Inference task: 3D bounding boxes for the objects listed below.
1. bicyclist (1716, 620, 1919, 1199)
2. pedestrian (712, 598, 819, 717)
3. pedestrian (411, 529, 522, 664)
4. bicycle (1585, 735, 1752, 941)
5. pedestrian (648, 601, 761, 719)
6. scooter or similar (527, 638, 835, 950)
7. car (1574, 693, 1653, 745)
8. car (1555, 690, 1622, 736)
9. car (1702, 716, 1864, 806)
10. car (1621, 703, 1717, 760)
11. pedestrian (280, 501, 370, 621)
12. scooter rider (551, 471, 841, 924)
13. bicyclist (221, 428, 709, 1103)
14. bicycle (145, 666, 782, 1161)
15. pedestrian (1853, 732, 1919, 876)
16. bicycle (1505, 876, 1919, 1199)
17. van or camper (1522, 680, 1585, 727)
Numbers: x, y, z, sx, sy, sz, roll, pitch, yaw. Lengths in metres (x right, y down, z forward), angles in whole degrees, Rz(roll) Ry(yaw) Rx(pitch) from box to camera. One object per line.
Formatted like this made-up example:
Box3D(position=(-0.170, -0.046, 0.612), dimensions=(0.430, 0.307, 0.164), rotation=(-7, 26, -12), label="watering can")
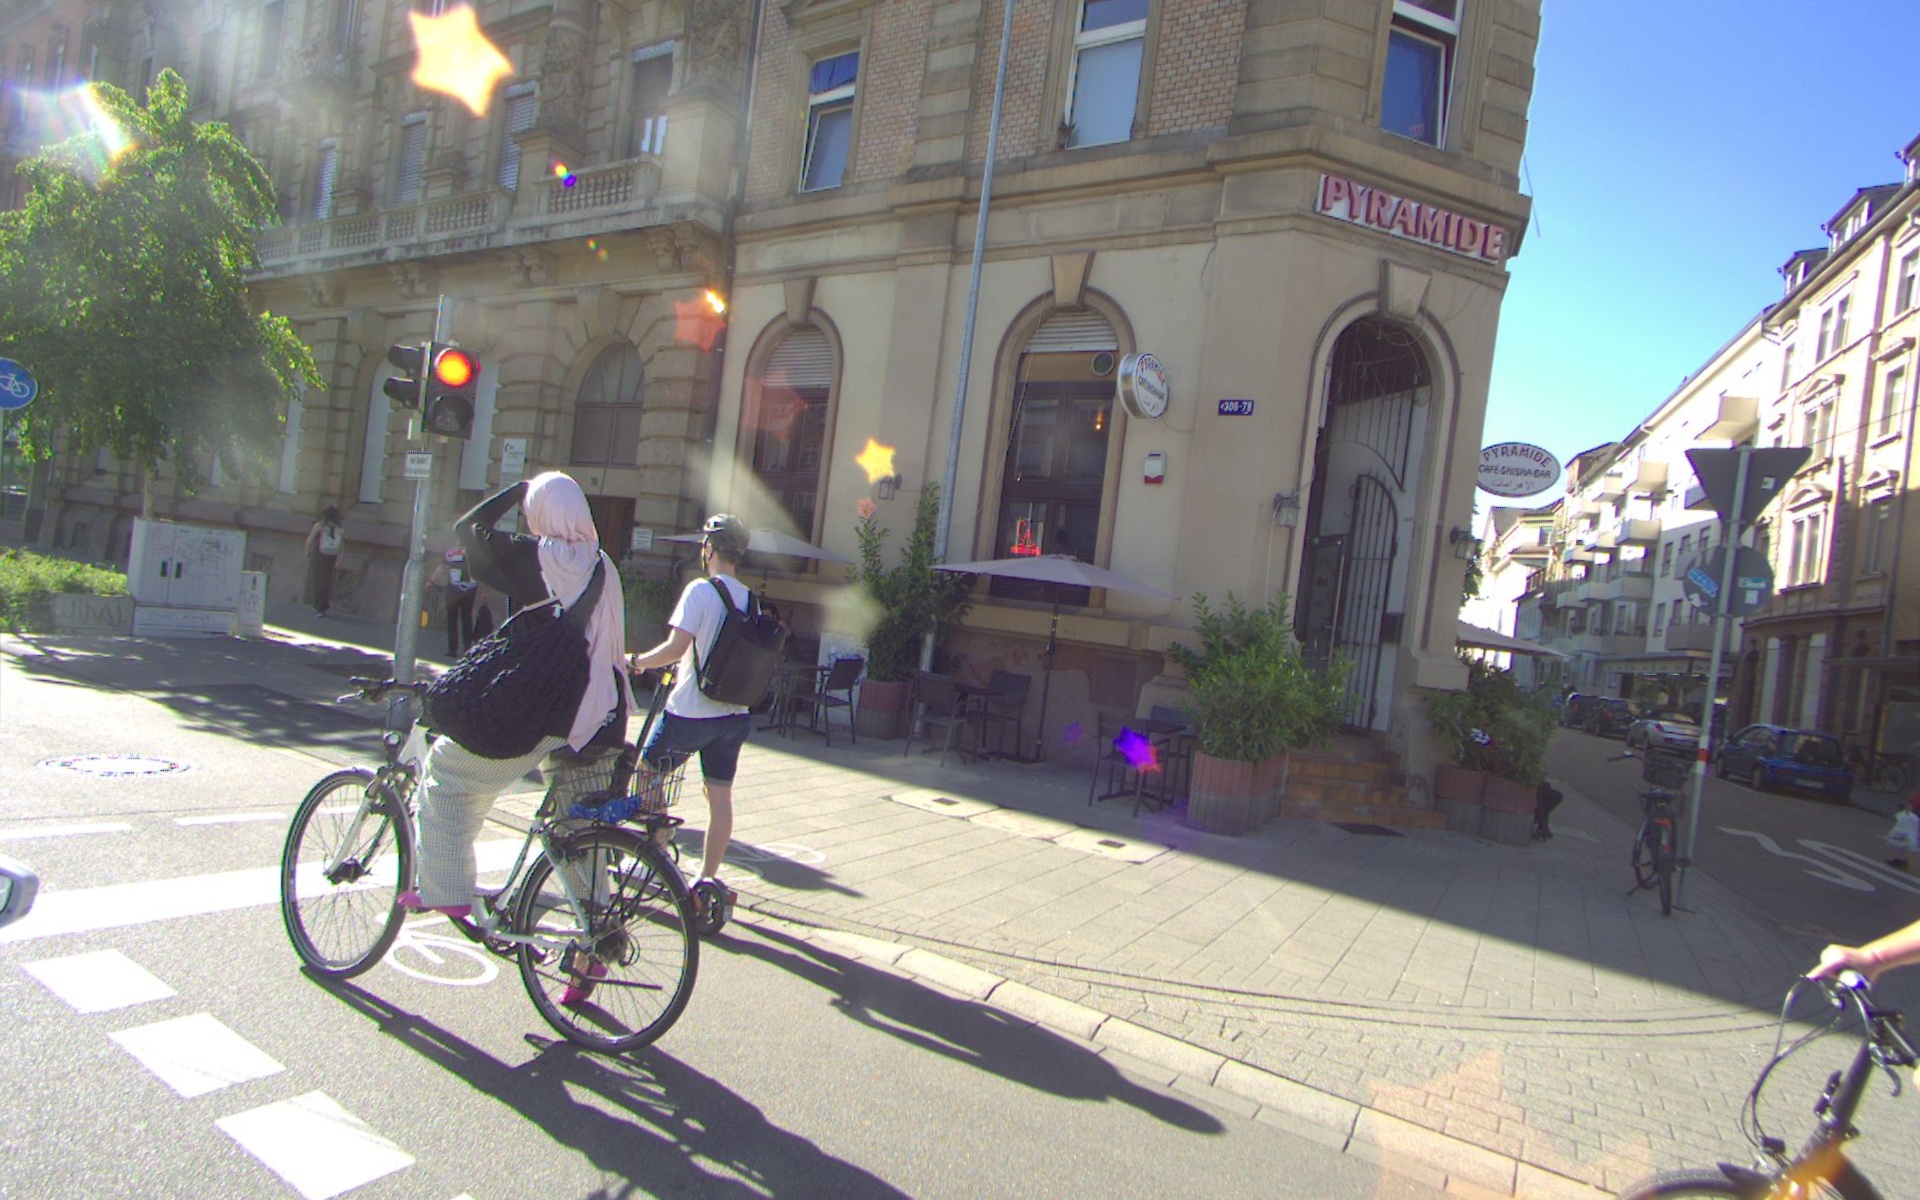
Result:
Box3D(position=(2.260, 0.999, 2.028), dimensions=(0.972, 1.747, 0.853), rotation=(7, -1, 32), label="bicyclist")
Box3D(position=(-2.331, 0.690, 12.091), dimensions=(0.873, 1.298, 0.726), rotation=(6, 0, 31), label="pedestrian")
Box3D(position=(-6.787, -0.050, 13.829), dimensions=(0.966, 1.714, 1.100), rotation=(4, 2, -44), label="pedestrian")
Box3D(position=(5.782, 1.820, 8.167), dimensions=(0.804, 1.247, 2.211), rotation=(11, 2, 38), label="bicycle")
Box3D(position=(-2.865, 0.670, 11.292), dimensions=(0.867, 1.197, 0.718), rotation=(6, 0, 31), label="pedestrian")
Box3D(position=(-1.315, 0.853, 4.763), dimensions=(1.130, 1.172, 0.647), rotation=(7, -1, 26), label="scooter or similar")
Box3D(position=(23.869, 4.310, 36.870), dimensions=(1.599, 1.424, 3.439), rotation=(9, 1, 22), label="car")
Box3D(position=(25.897, 4.635, 41.554), dimensions=(1.599, 1.424, 3.439), rotation=(9, 1, 22), label="car")
Box3D(position=(18.396, 3.533, 22.678), dimensions=(1.587, 1.428, 3.703), rotation=(7, -1, 21), label="car")
Box3D(position=(21.469, 3.959, 30.596), dimensions=(1.600, 1.337, 3.389), rotation=(7, -1, 24), label="car")
Box3D(position=(-11.056, -0.681, 17.510), dimensions=(1.081, 1.945, 0.889), rotation=(7, 2, 37), label="pedestrian")
Box3D(position=(-1.235, 0.416, 4.759), dimensions=(0.882, 1.888, 0.663), rotation=(7, -1, 27), label="scooter rider")
Box3D(position=(-1.616, 0.453, 3.345), dimensions=(1.071, 1.839, 0.726), rotation=(7, -1, 23), label="bicyclist")
Box3D(position=(-1.660, 0.873, 3.336), dimensions=(1.917, 1.018, 0.726), rotation=(7, -1, 24), label="bicycle")
Box3D(position=(11.502, 2.449, 11.945), dimensions=(0.891, 1.592, 0.835), rotation=(7, -1, 4), label="pedestrian")
Box3D(position=(2.217, 1.354, 2.023), dimensions=(1.920, 1.018, 0.829), rotation=(7, -1, 32), label="bicycle")
Box3D(position=(30.235, 5.230, 51.370), dimensions=(1.850, 1.867, 4.545), rotation=(9, 1, 22), label="van or camper")
